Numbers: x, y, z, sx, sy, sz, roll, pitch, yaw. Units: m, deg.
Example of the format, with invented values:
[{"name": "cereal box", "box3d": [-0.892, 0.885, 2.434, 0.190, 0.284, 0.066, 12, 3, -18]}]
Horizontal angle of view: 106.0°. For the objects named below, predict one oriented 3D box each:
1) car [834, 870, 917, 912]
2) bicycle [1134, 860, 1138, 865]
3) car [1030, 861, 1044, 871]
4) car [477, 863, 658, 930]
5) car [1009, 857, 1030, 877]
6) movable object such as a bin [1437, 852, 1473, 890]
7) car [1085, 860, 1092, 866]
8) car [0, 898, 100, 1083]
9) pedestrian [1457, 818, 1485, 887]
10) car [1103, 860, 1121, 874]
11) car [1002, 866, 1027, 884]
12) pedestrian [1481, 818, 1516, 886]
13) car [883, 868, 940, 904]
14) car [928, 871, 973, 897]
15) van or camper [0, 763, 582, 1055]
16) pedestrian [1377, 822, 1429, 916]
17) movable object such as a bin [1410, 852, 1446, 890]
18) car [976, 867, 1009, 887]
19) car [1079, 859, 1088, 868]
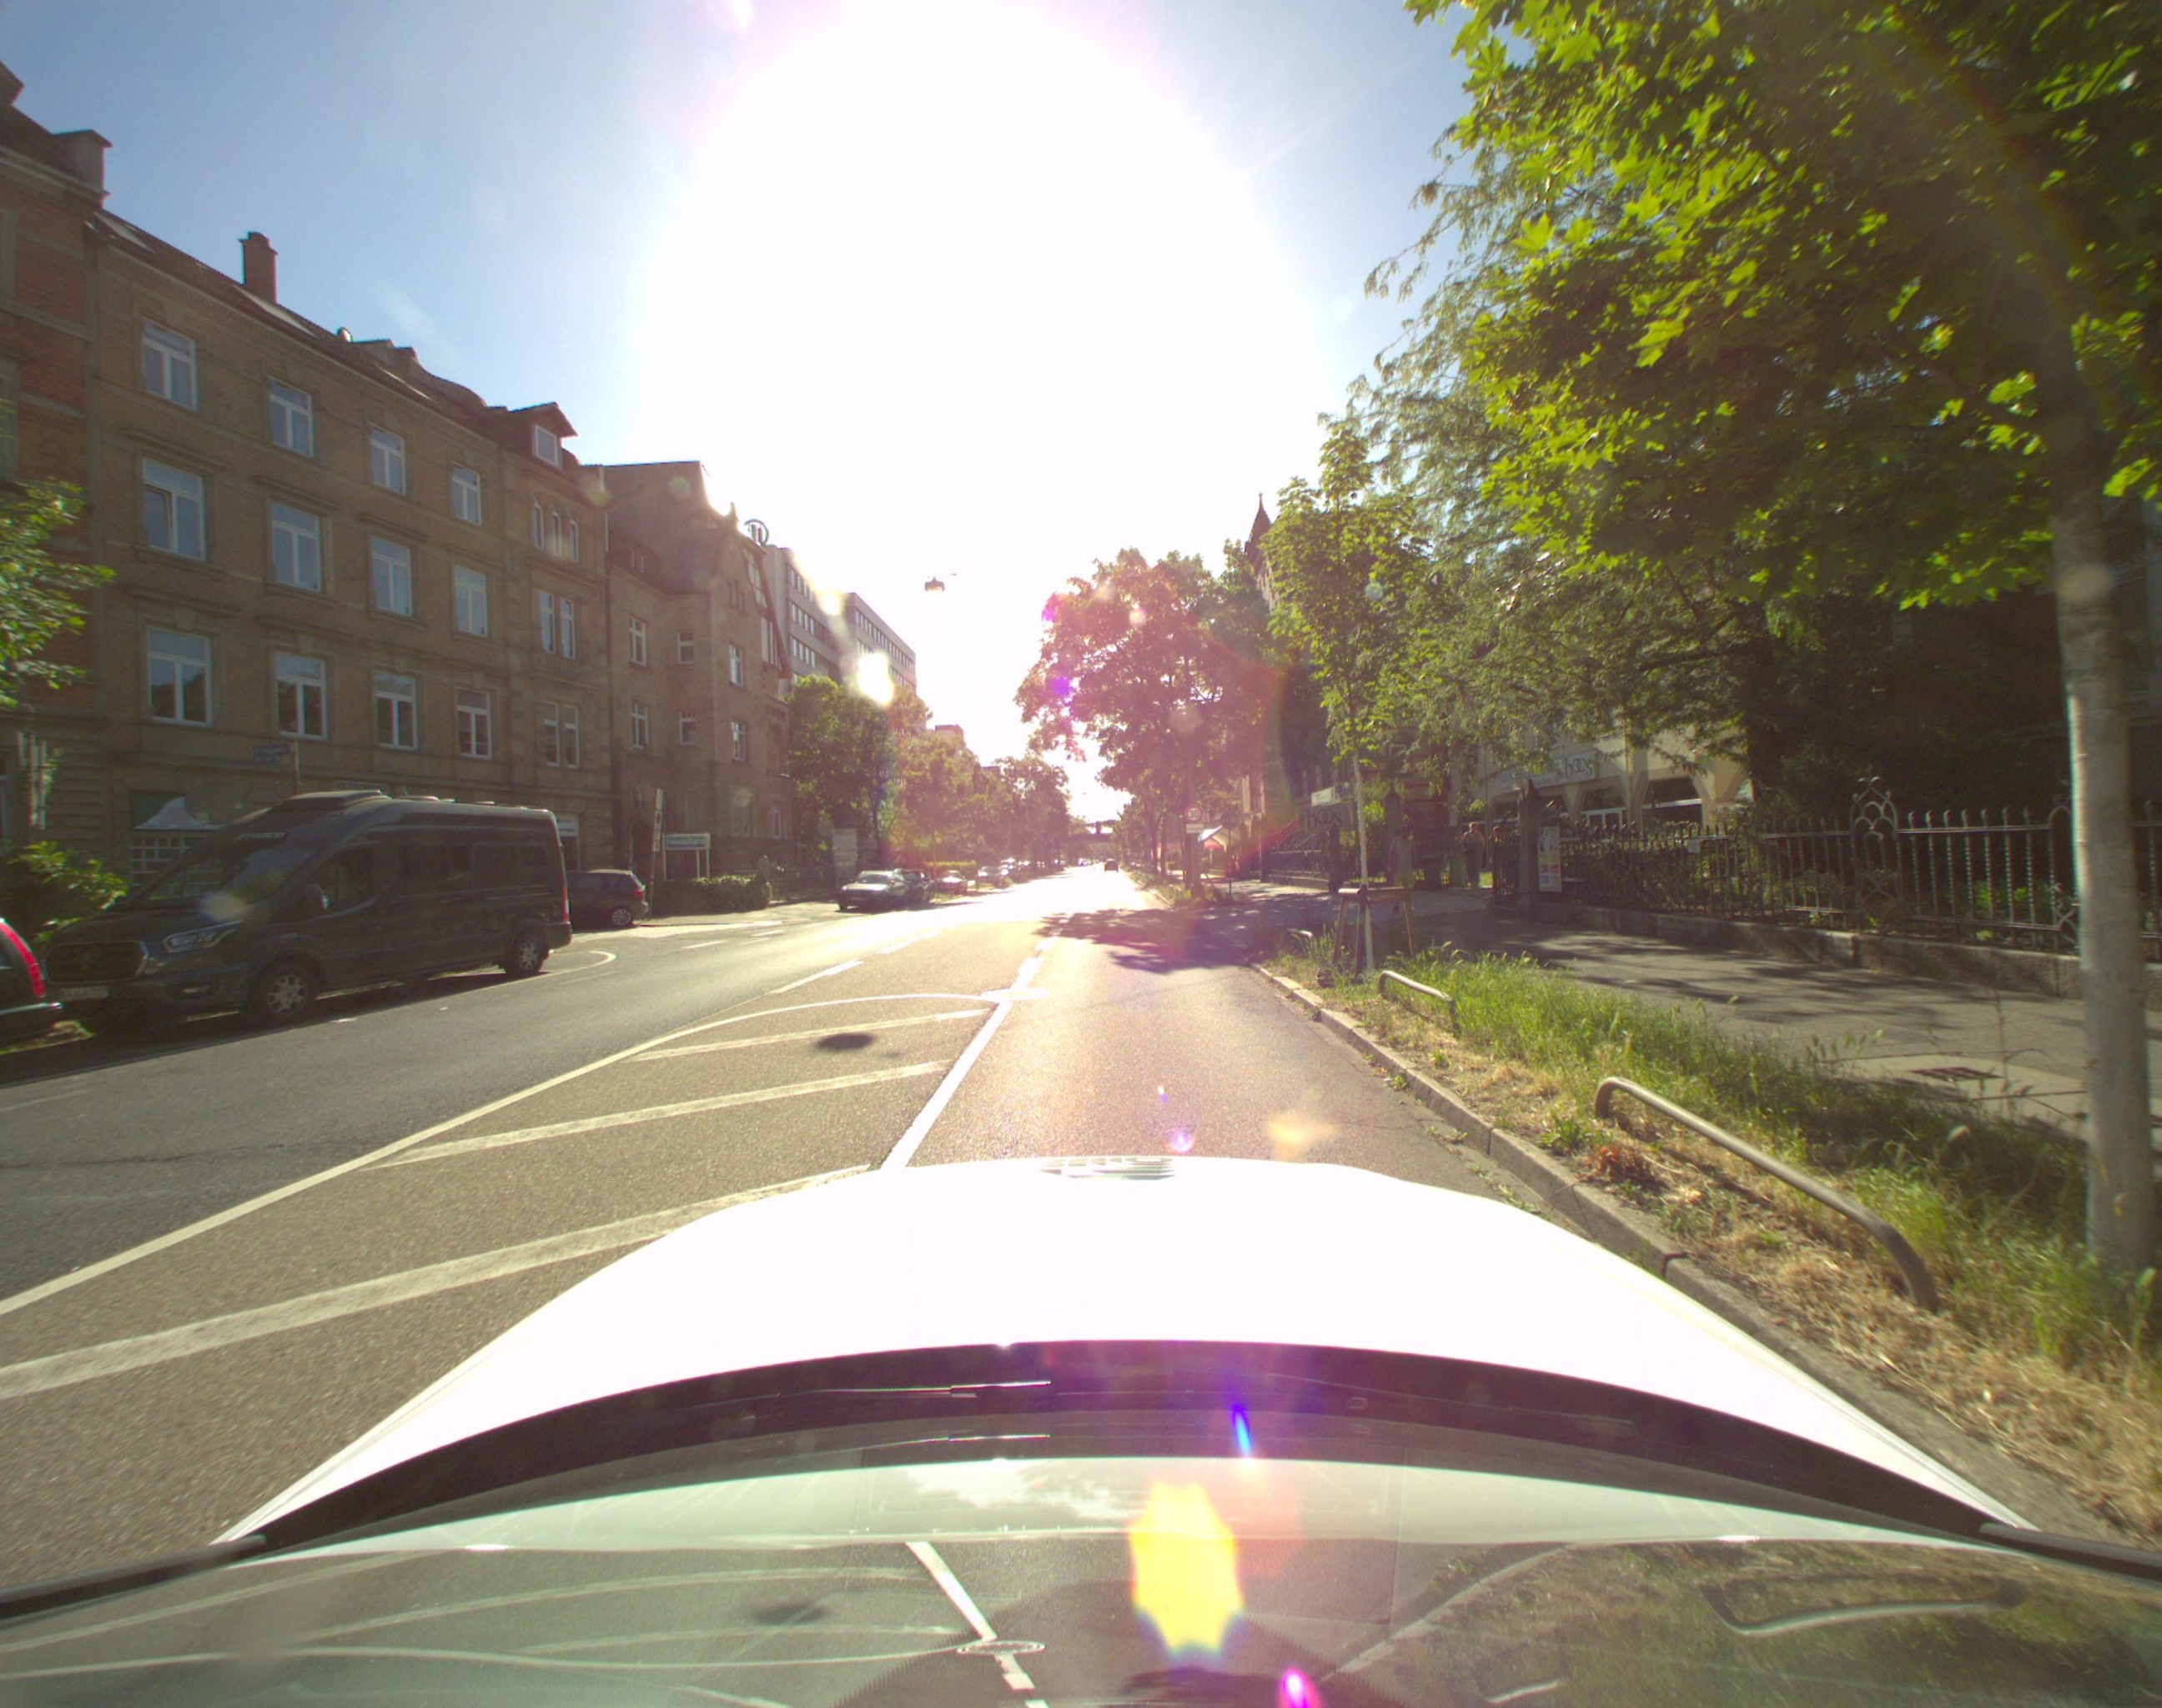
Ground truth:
[{"name": "car", "box3d": [-8.064, 1.404, 32.457, 1.848, 1.427, 4.723, 2, 0, 3]}, {"name": "bicycle", "box3d": [10.466, 1.637, 154.610, 0.587, 1.027, 1.860, -2, -1, 1]}, {"name": "car", "box3d": [-6.963, 1.933, 129.443, 1.848, 1.568, 3.873, -1, 0, 2]}, {"name": "car", "box3d": [-14.366, 1.135, 23.012, 4.158, 1.670, 1.980, 1, 1, -32]}, {"name": "car", "box3d": [-7.139, 1.517, 94.960, 1.975, 2.076, 5.194, -4, 0, -1]}, {"name": "movable object such as a bin", "box3d": [10.115, 0.448, 22.041, 0.622, 0.965, 0.667, -5, -1, 1]}, {"name": "car", "box3d": [2.004, 2.388, 214.301, 1.849, 1.568, 4.716, -4, 0, 1]}, {"name": "car", "box3d": [-9.607, 1.161, 4.866, 1.687, 1.456, 4.665, -4, 0, 2]}, {"name": "pedestrian", "box3d": [10.299, -0.042, 21.513, 0.536, 1.778, 0.536, -4, -1, 28]}, {"name": "car", "box3d": [3.741, 1.511, 99.074, 1.978, 1.600, 4.140, -2, 0, 0]}, {"name": "car", "box3d": [-5.917, 1.834, 72.702, 1.705, 1.459, 4.075, -1, 0, 3]}, {"name": "pedestrian", "box3d": [10.756, -0.048, 20.999, 0.537, 1.709, 0.514, -3, -1, -6]}, {"name": "car", "box3d": [-7.814, 1.419, 37.863, 1.851, 1.494, 4.700, 1, -1, -3]}, {"name": "car", "box3d": [-7.243, 1.646, 45.458, 1.672, 1.255, 4.017, -1, 0, 2]}, {"name": "van or camper", "box3d": [-9.756, 0.548, 10.864, 2.208, 2.739, 6.090, -2, 0, 2]}, {"name": "pedestrian", "box3d": [6.406, 0.288, 16.238, 0.742, 1.787, 0.814, -5, -1, 15]}, {"name": "movable object such as a bin", "box3d": [9.399, 0.454, 22.095, 0.622, 0.965, 0.667, -5, -1, 1]}, {"name": "car", "box3d": [-6.676, 1.713, 61.544, 1.680, 1.383, 4.196, -1, 0, 4]}, {"name": "car", "box3d": [0.598, 2.014, 180.643, 1.849, 1.825, 4.610, -4, 0, 1]}]
